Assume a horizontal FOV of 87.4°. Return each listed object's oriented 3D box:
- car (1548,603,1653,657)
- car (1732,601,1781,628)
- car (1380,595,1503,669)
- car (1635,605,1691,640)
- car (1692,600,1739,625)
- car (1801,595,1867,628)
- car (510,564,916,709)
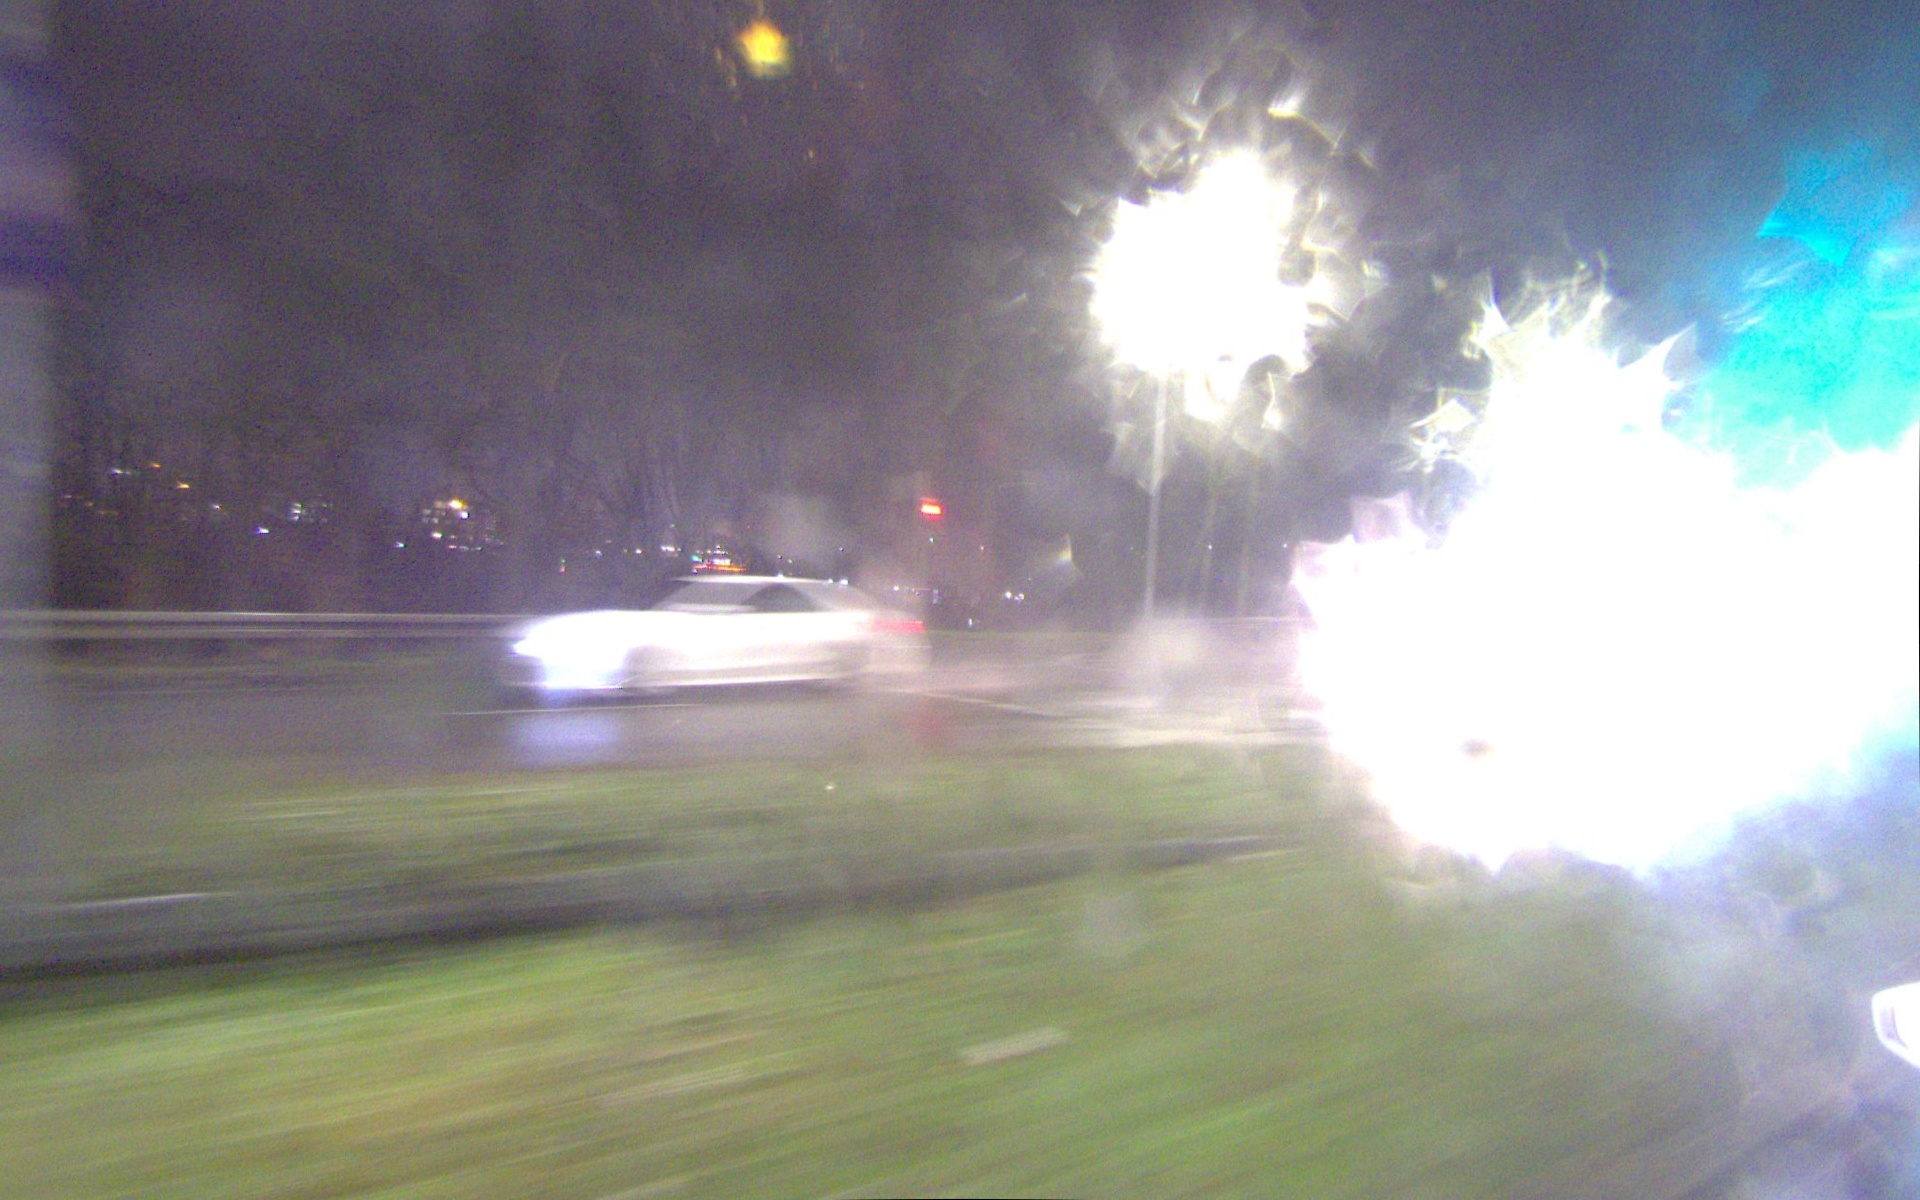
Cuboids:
[{"bbox_3d":[20.508,0.927,32.089,4.447,1.480,1.762,1,3,-44],"label":"car"},{"bbox_3d":[55.384,0.990,69.949,1.788,1.639,3.995,4,2,27],"label":"car"},{"bbox_3d":[11.523,0.698,23.959,1.548,1.453,3.472,5,6,44],"label":"car"},{"bbox_3d":[31.329,0.946,44.724,1.784,1.371,4.126,4,2,37],"label":"car"},{"bbox_3d":[59.645,0.965,79.364,2.056,1.665,3.727,7,4,24],"label":"car"},{"bbox_3d":[48.152,0.636,55.431,1.788,1.639,3.994,4,2,28],"label":"car"},{"bbox_3d":[-2.902,0.394,12.345,4.536,1.476,1.776,1,0,-38],"label":"car"}]
